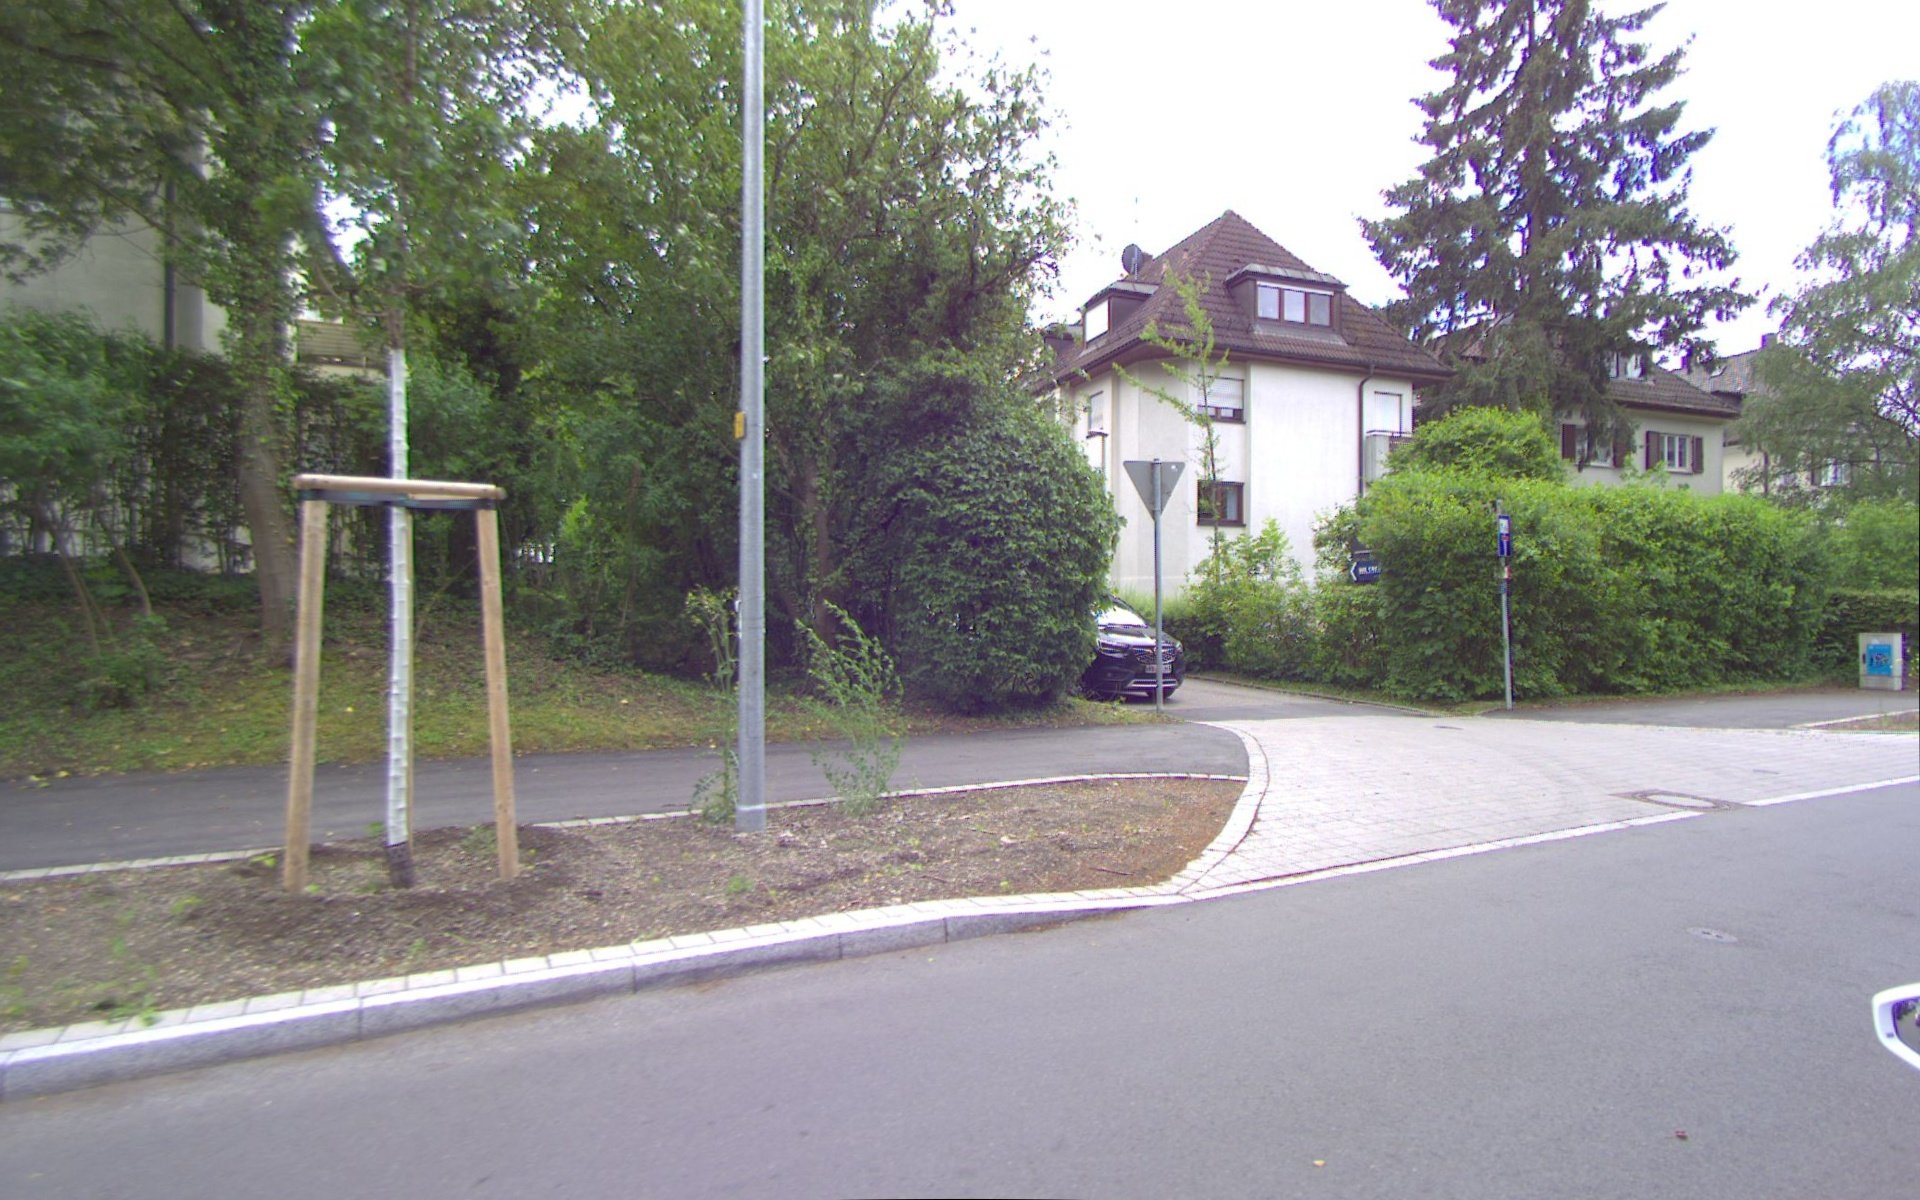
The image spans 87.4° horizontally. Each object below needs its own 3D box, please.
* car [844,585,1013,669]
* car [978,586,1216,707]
[{"bbox_3d":[-0.768,0.498,21.153,1.847,1.514,3.966,1,1,-31],"label":"car"},{"bbox_3d":[2.050,0.646,16.187,1.844,1.614,3.972,1,1,-27],"label":"car"}]
